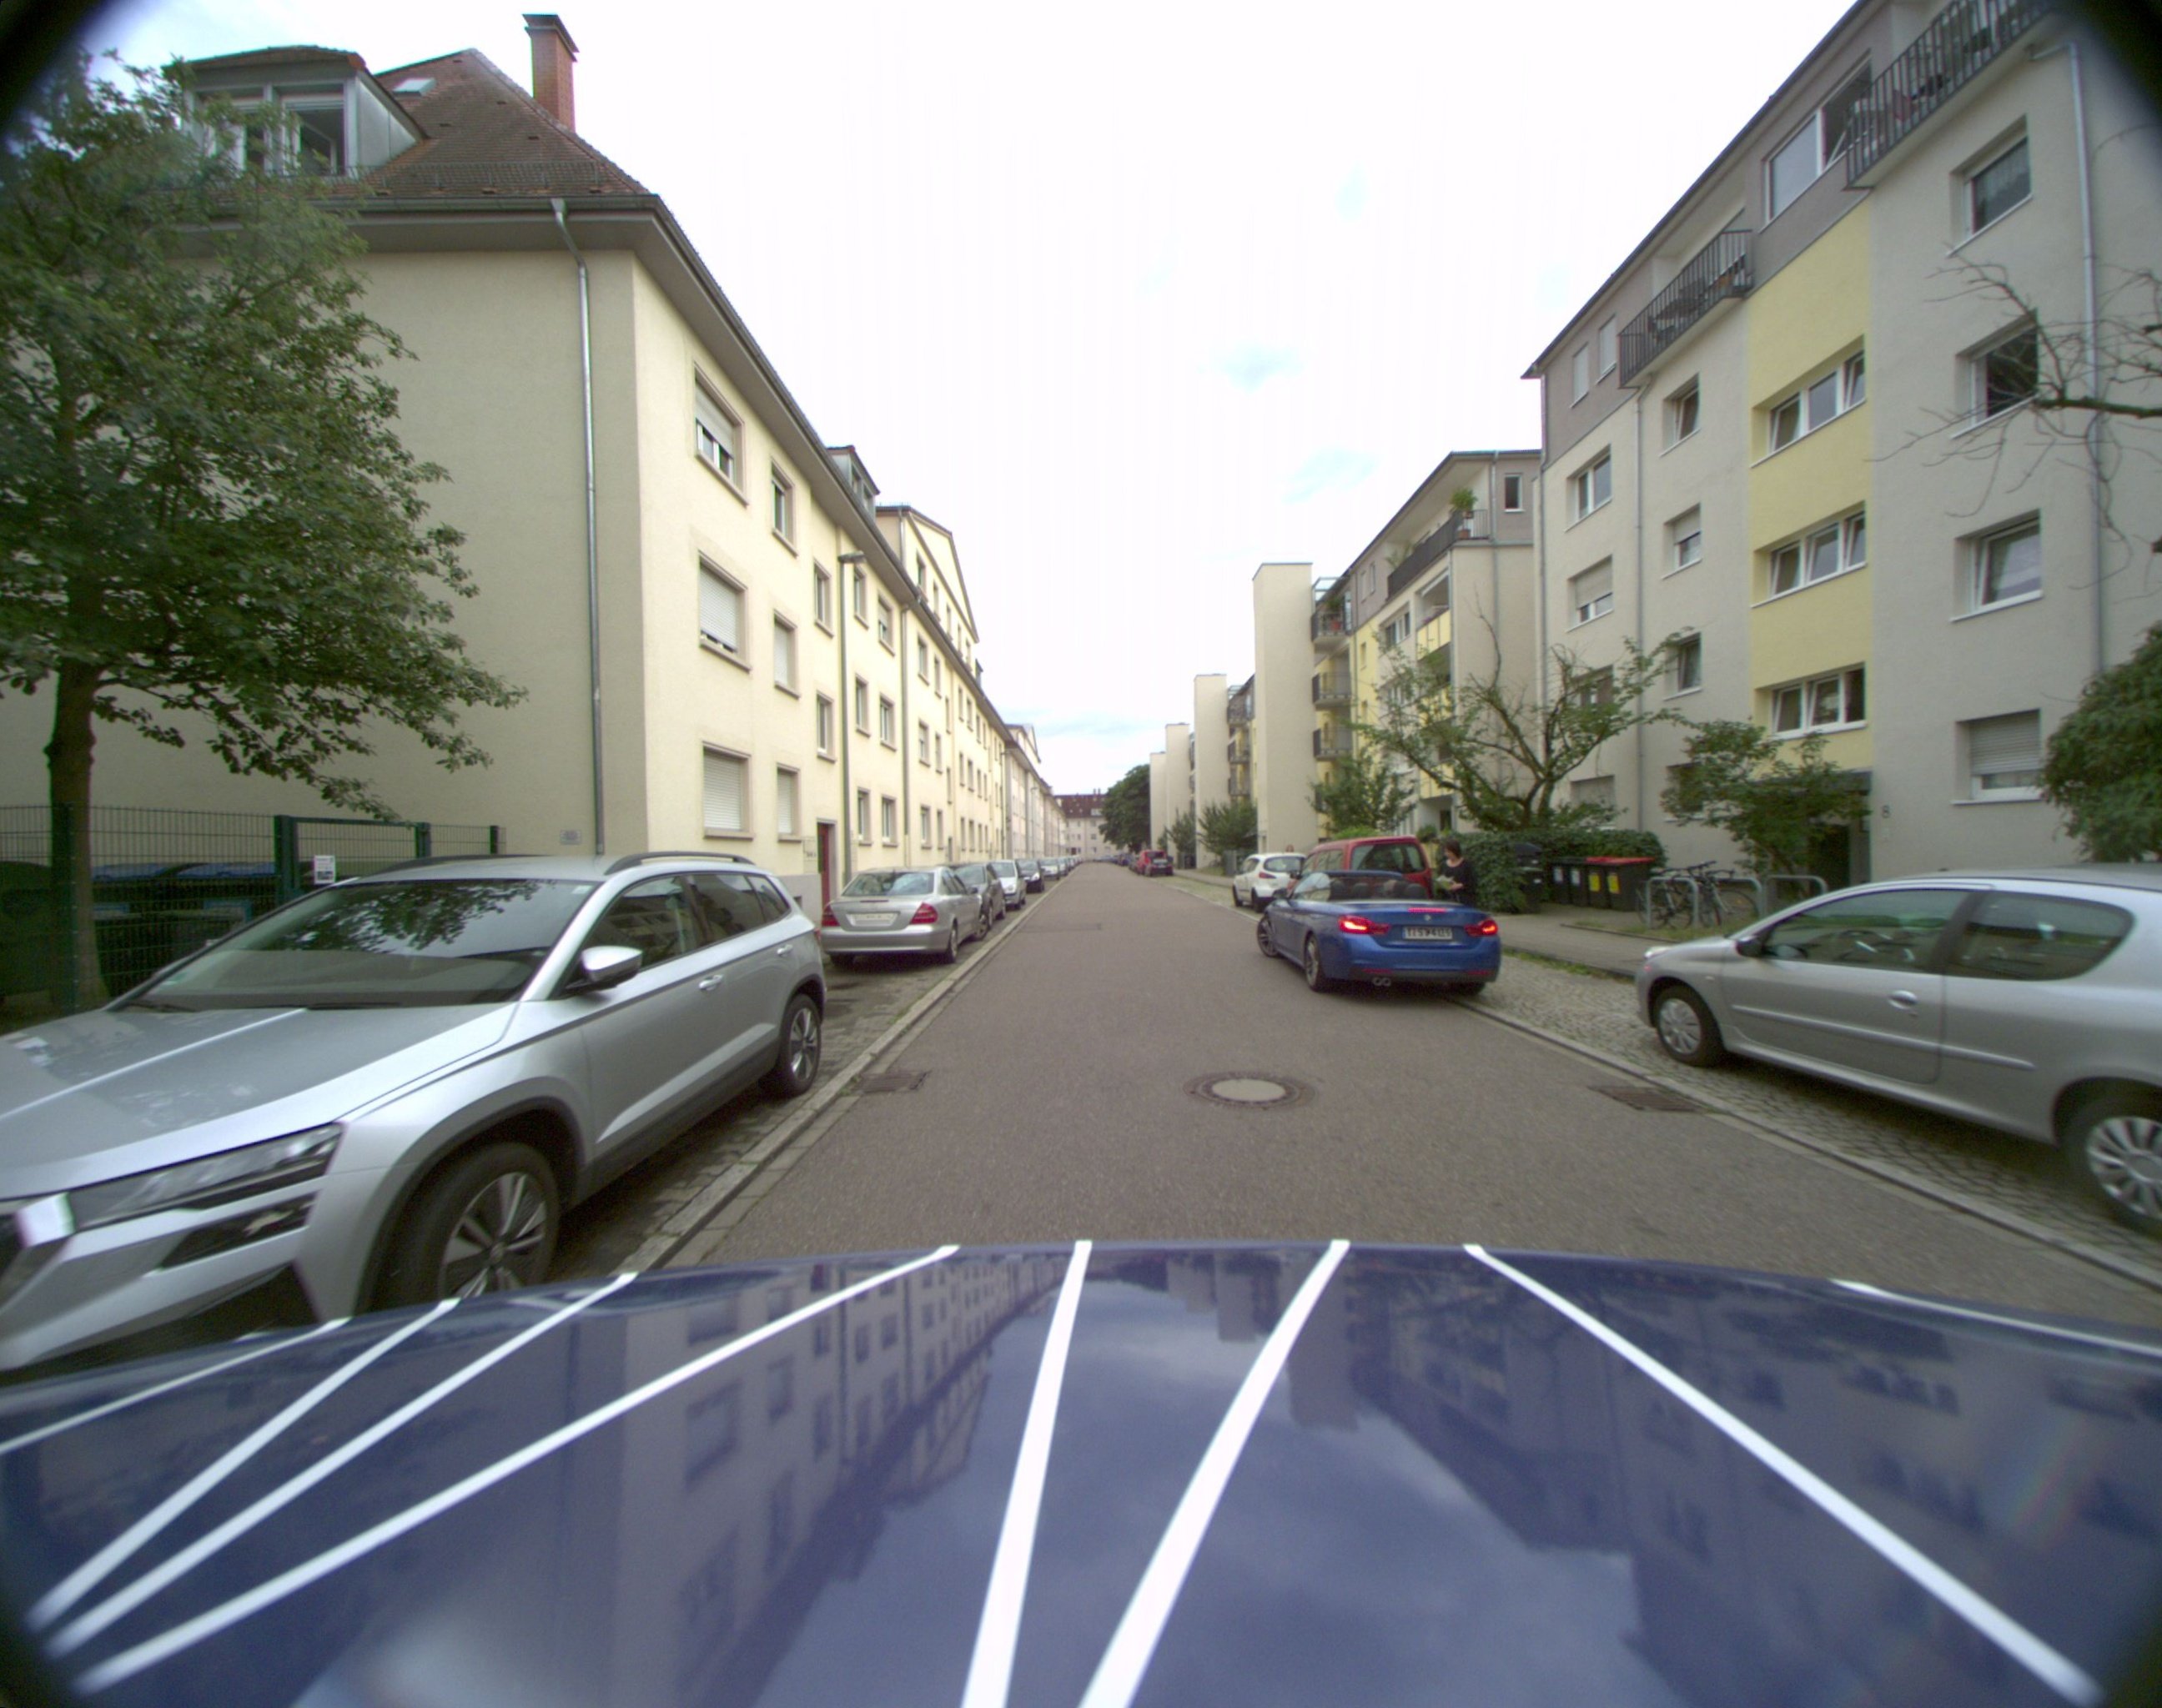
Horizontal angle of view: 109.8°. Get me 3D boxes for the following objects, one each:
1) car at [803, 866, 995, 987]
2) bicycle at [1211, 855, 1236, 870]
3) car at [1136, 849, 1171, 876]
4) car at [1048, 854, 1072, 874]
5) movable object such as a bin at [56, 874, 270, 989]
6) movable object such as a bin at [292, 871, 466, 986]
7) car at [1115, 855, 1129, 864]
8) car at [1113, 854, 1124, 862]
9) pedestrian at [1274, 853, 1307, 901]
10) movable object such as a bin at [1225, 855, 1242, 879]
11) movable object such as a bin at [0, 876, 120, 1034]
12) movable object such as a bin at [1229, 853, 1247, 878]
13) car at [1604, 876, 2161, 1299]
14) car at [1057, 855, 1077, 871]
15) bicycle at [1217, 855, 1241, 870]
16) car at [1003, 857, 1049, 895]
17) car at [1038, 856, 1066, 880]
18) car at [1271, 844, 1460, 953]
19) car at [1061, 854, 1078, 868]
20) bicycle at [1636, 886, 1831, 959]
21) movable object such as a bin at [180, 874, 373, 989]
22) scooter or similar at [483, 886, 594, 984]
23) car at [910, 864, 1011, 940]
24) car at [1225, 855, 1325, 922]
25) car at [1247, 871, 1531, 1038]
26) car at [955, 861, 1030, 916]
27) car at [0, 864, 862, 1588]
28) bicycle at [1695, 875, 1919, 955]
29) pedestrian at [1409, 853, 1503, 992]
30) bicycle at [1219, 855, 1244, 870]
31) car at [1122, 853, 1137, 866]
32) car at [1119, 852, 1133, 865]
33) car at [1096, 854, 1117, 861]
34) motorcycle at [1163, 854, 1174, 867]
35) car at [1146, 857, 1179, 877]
[{"bbox_3d":[-2.649,0.991,12.210,1.729,1.468,4.505,-1,0,3],"label":"car"},{"bbox_3d":[11.357,0.678,60.516,1.839,1.112,0.605,-2,0,0],"label":"bicycle"},{"bbox_3d":[5.770,0.659,61.356,2.157,1.942,4.921,-3,0,-1],"label":"car"},{"bbox_3d":[-1.606,0.777,60.264,1.729,1.483,4.060,-1,0,1],"label":"car"},{"bbox_3d":[-11.985,0.966,9.994,1.194,1.371,1.306,0,0,1],"label":"movable object such as a bin"},{"bbox_3d":[-9.103,0.925,9.934,1.034,1.371,1.306,0,0,1],"label":"movable object such as a bin"},{"bbox_3d":[6.930,0.870,128.941,1.919,1.431,4.434,-3,0,-1],"label":"car"},{"bbox_3d":[7.364,0.770,148.813,2.000,1.566,4.210,-3,0,1],"label":"car"},{"bbox_3d":[7.085,0.769,25.744,0.802,1.600,0.946,-1,0,-3],"label":"pedestrian"},{"bbox_3d":[9.138,0.774,45.487,0.805,1.421,1.288,-2,0,4],"label":"movable object such as a bin"},{"bbox_3d":[-10.074,0.904,6.898,1.140,1.371,1.221,0,0,3],"label":"movable object such as a bin"},{"bbox_3d":[9.119,0.656,44.100,0.805,1.421,1.288,-2,0,5],"label":"movable object such as a bin"},{"bbox_3d":[5.036,0.947,4.153,1.749,1.456,3.786,-3,0,1],"label":"car"},{"bbox_3d":[-1.357,0.902,76.274,1.729,1.460,4.264,-2,0,2],"label":"car"},{"bbox_3d":[11.648,0.679,59.839,1.839,1.112,0.570,-1,0,3],"label":"bicycle"},{"bbox_3d":[-2.351,0.896,33.209,1.729,1.508,4.060,-1,0,0],"label":"car"},{"bbox_3d":[-1.880,0.894,50.567,1.729,1.508,4.060,0,0,0],"label":"car"},{"bbox_3d":[5.363,0.751,15.024,1.962,1.760,4.361,-2,0,-1],"label":"car"},{"bbox_3d":[-1.366,0.788,89.307,1.788,1.590,3.805,-2,0,2],"label":"car"},{"bbox_3d":[9.690,0.970,11.492,0.572,0.843,2.756,0,0,0],"label":"bicycle"},{"bbox_3d":[-10.491,0.967,9.988,1.112,1.371,1.306,0,0,1],"label":"movable object such as a bin"},{"bbox_3d":[-7.204,1.049,10.098,1.278,1.238,0.523,-1,0,18],"label":"scooter or similar"},{"bbox_3d":[-2.670,1.022,17.643,1.607,1.468,3.869,-2,0,1],"label":"car"},{"bbox_3d":[5.178,0.855,20.732,1.725,1.561,3.870,-3,0,1],"label":"car"},{"bbox_3d":[3.433,1.014,9.517,1.849,1.443,4.501,-2,0,2],"label":"car"},{"bbox_3d":[-2.585,0.969,23.079,1.853,1.441,3.832,-1,0,-1],"label":"car"},{"bbox_3d":[-2.678,0.906,3.838,1.825,1.632,4.091,0,0,2],"label":"car"},{"bbox_3d":[10.894,0.859,11.611,0.779,0.993,2.756,0,0,0],"label":"bicycle"},{"bbox_3d":[4.804,0.839,9.768,0.743,1.692,0.795,-1,1,-16],"label":"pedestrian"},{"bbox_3d":[11.687,0.680,58.862,1.838,1.112,0.571,-1,0,7],"label":"bicycle"},{"bbox_3d":[6.436,0.714,101.242,1.804,1.617,4.472,-2,0,1],"label":"car"},{"bbox_3d":[6.701,0.699,113.376,1.891,1.844,4.785,-1,0,0],"label":"car"},{"bbox_3d":[5.831,0.862,171.638,4.545,1.551,1.565,-1,0,5],"label":"car"},{"bbox_3d":[9.014,0.680,78.340,0.871,1.299,2.420,-3,0,1],"label":"motorcycle"},{"bbox_3d":[5.858,0.920,55.118,1.875,1.316,4.361,-3,0,0],"label":"car"}]
